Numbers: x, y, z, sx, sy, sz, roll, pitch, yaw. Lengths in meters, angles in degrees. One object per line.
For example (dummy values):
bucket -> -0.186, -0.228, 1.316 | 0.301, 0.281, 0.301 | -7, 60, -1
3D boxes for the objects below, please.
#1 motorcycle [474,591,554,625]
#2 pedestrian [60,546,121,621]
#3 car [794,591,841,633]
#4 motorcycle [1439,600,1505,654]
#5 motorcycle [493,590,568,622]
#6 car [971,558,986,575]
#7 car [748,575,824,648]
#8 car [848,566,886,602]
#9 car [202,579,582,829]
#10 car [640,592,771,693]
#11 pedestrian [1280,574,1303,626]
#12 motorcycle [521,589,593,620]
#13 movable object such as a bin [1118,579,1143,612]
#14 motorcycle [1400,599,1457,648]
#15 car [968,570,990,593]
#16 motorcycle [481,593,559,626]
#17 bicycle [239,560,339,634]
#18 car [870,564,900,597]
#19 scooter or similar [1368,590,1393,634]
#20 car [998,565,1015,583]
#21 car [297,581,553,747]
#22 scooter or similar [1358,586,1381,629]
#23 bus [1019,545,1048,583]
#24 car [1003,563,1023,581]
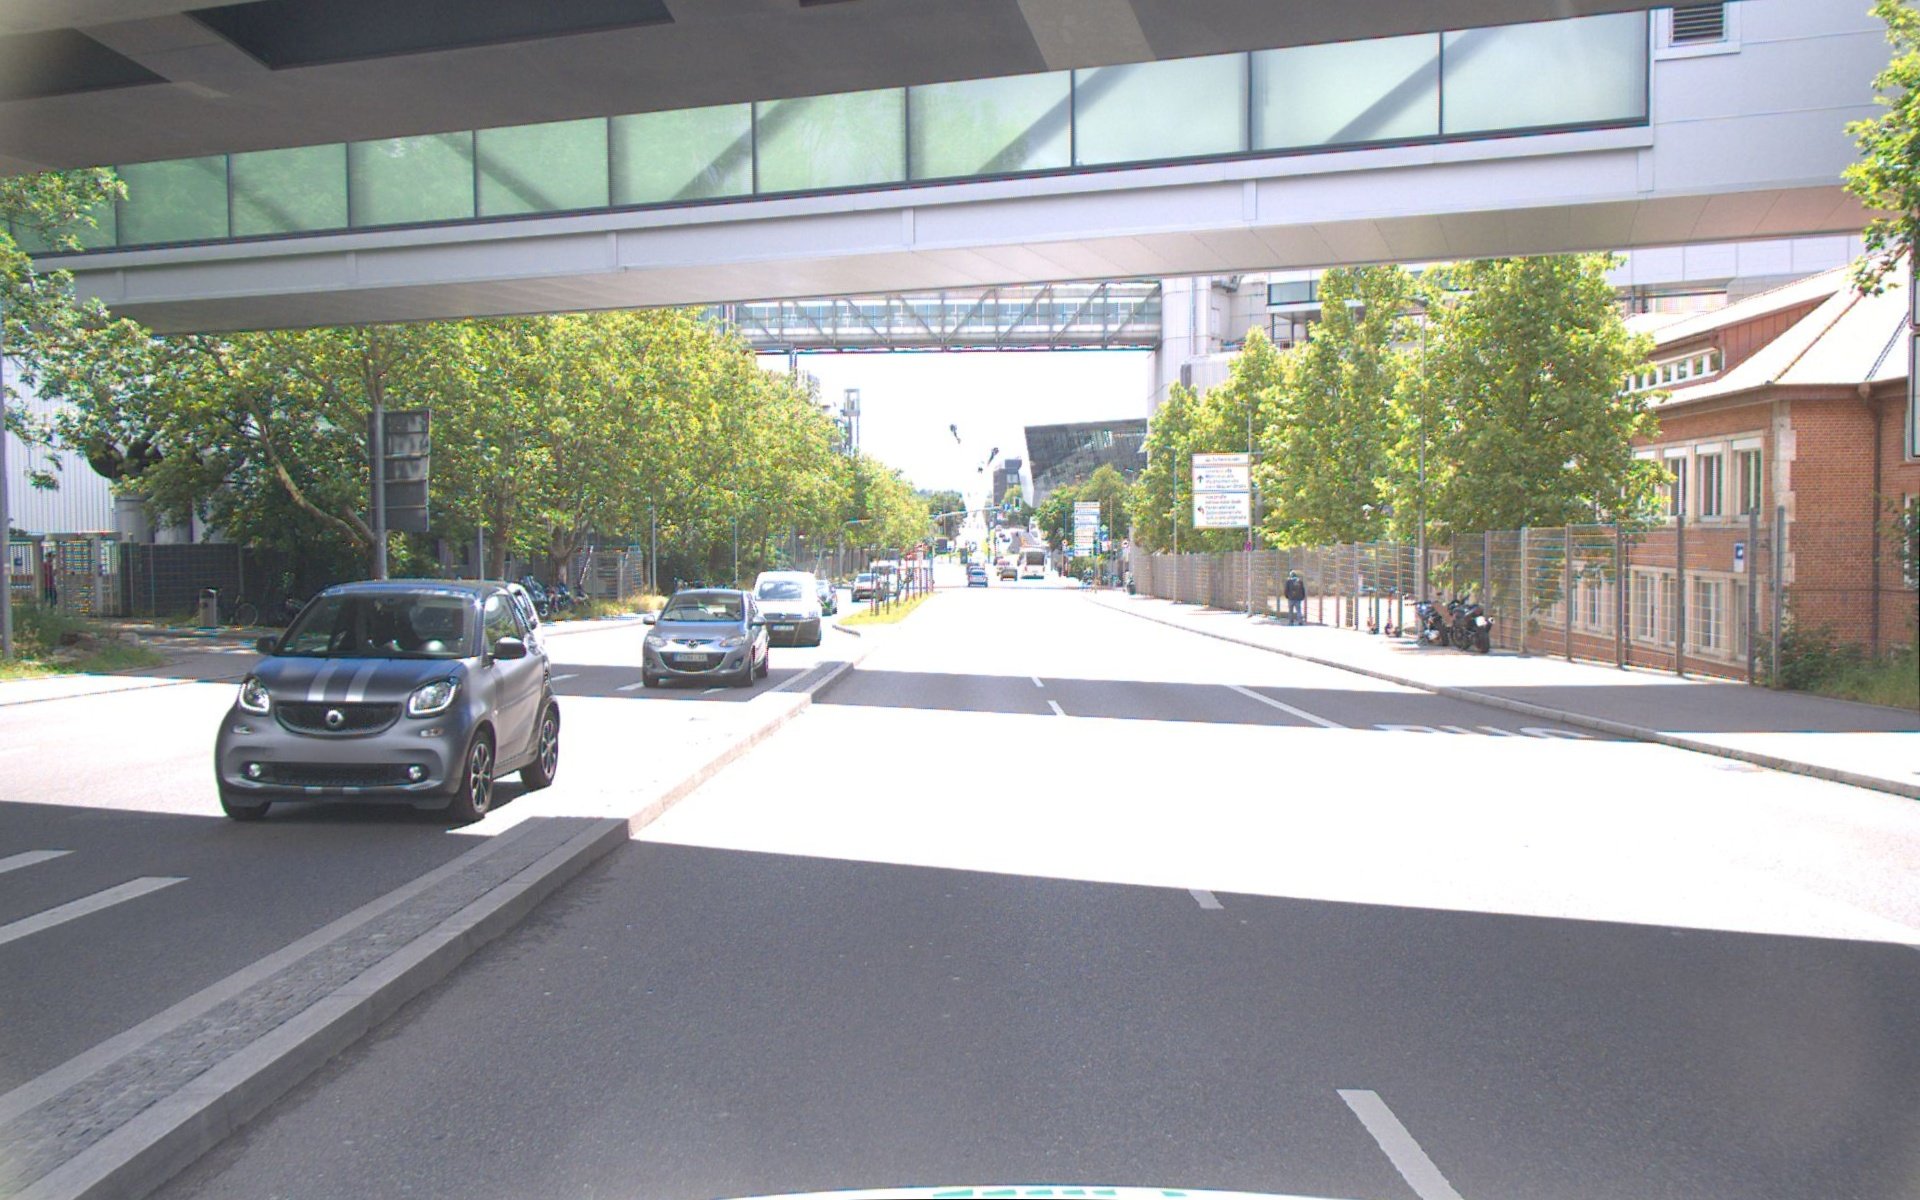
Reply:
motorcycle -> -15.053, 0.268, 55.887 | 2.522, 1.126, 0.795 | 0, 0, 12
pedestrian -> -24.076, -0.449, 45.806 | 0.988, 2.049, 1.168 | 0, 0, 8
car -> -5.933, 0.479, 69.237 | 1.666, 1.728, 3.924 | 0, 0, -1
motorcycle -> 11.039, 0.559, 35.740 | 0.552, 1.047, 2.629 | -2, 1, -1
motorcycle -> -15.316, 0.212, 58.995 | 2.522, 1.126, 0.795 | 0, 0, 12
car -> 2.501, -4.554, 224.997 | 1.835, 2.047, 3.694 | 0, 5, -1
car -> -4.286, 0.252, 41.165 | 1.667, 1.728, 3.922 | 0, 0, -3
car -> -5.488, -0.966, 97.895 | 1.953, 2.049, 4.000 | 0, 1, 0
car -> -3.864, 0.637, 11.776 | 1.666, 1.548, 3.074 | 0, 0, -1
car -> -3.937, 0.608, 26.088 | 1.667, 1.461, 3.922 | 0, 0, -3
pedestrian -> 10.951, -0.007, 54.669 | 0.608, 1.646, 0.747 | -1, 4, -1
motorcycle -> -15.138, 0.169, 62.110 | 2.522, 1.126, 0.795 | 0, 0, 12
movable object such as a bin -> 11.281, -0.323, 109.554 | 1.629, 2.170, 1.279 | 0, 0, 5
motorcycle -> 11.039, 0.539, 39.042 | 0.552, 1.047, 2.629 | -2, 1, -1
car -> 1.701, -1.703, 148.468 | 1.890, 1.802, 4.003 | 0, 5, 1
motorcycle -> -15.244, 0.312, 57.250 | 2.522, 1.126, 0.795 | 0, 0, 12
bicycle -> -20.301, -0.119, 50.029 | 2.705, 2.048, 1.036 | -2, 5, -24
car -> -5.189, -1.337, 115.075 | 1.953, 2.295, 4.325 | 0, 0, -1
scooter or similar -> 11.490, 0.327, 45.206 | 0.361, 1.197, 1.133 | 0, 0, -1
car -> 5.674, -3.211, 203.174 | 1.953, 2.047, 4.002 | 0, 5, -1
car -> -5.595, 0.599, 17.785 | 1.667, 1.578, 3.922 | 0, 0, -3
scooter or similar -> 11.501, 0.209, 46.498 | 0.361, 1.197, 1.133 | 0, 0, -1
bus -> 8.498, -4.211, 191.971 | 2.739, 3.816, 9.472 | 0, 5, -1
car -> 5.720, -3.023, 179.312 | 1.953, 1.892, 3.999 | 0, 0, -1
